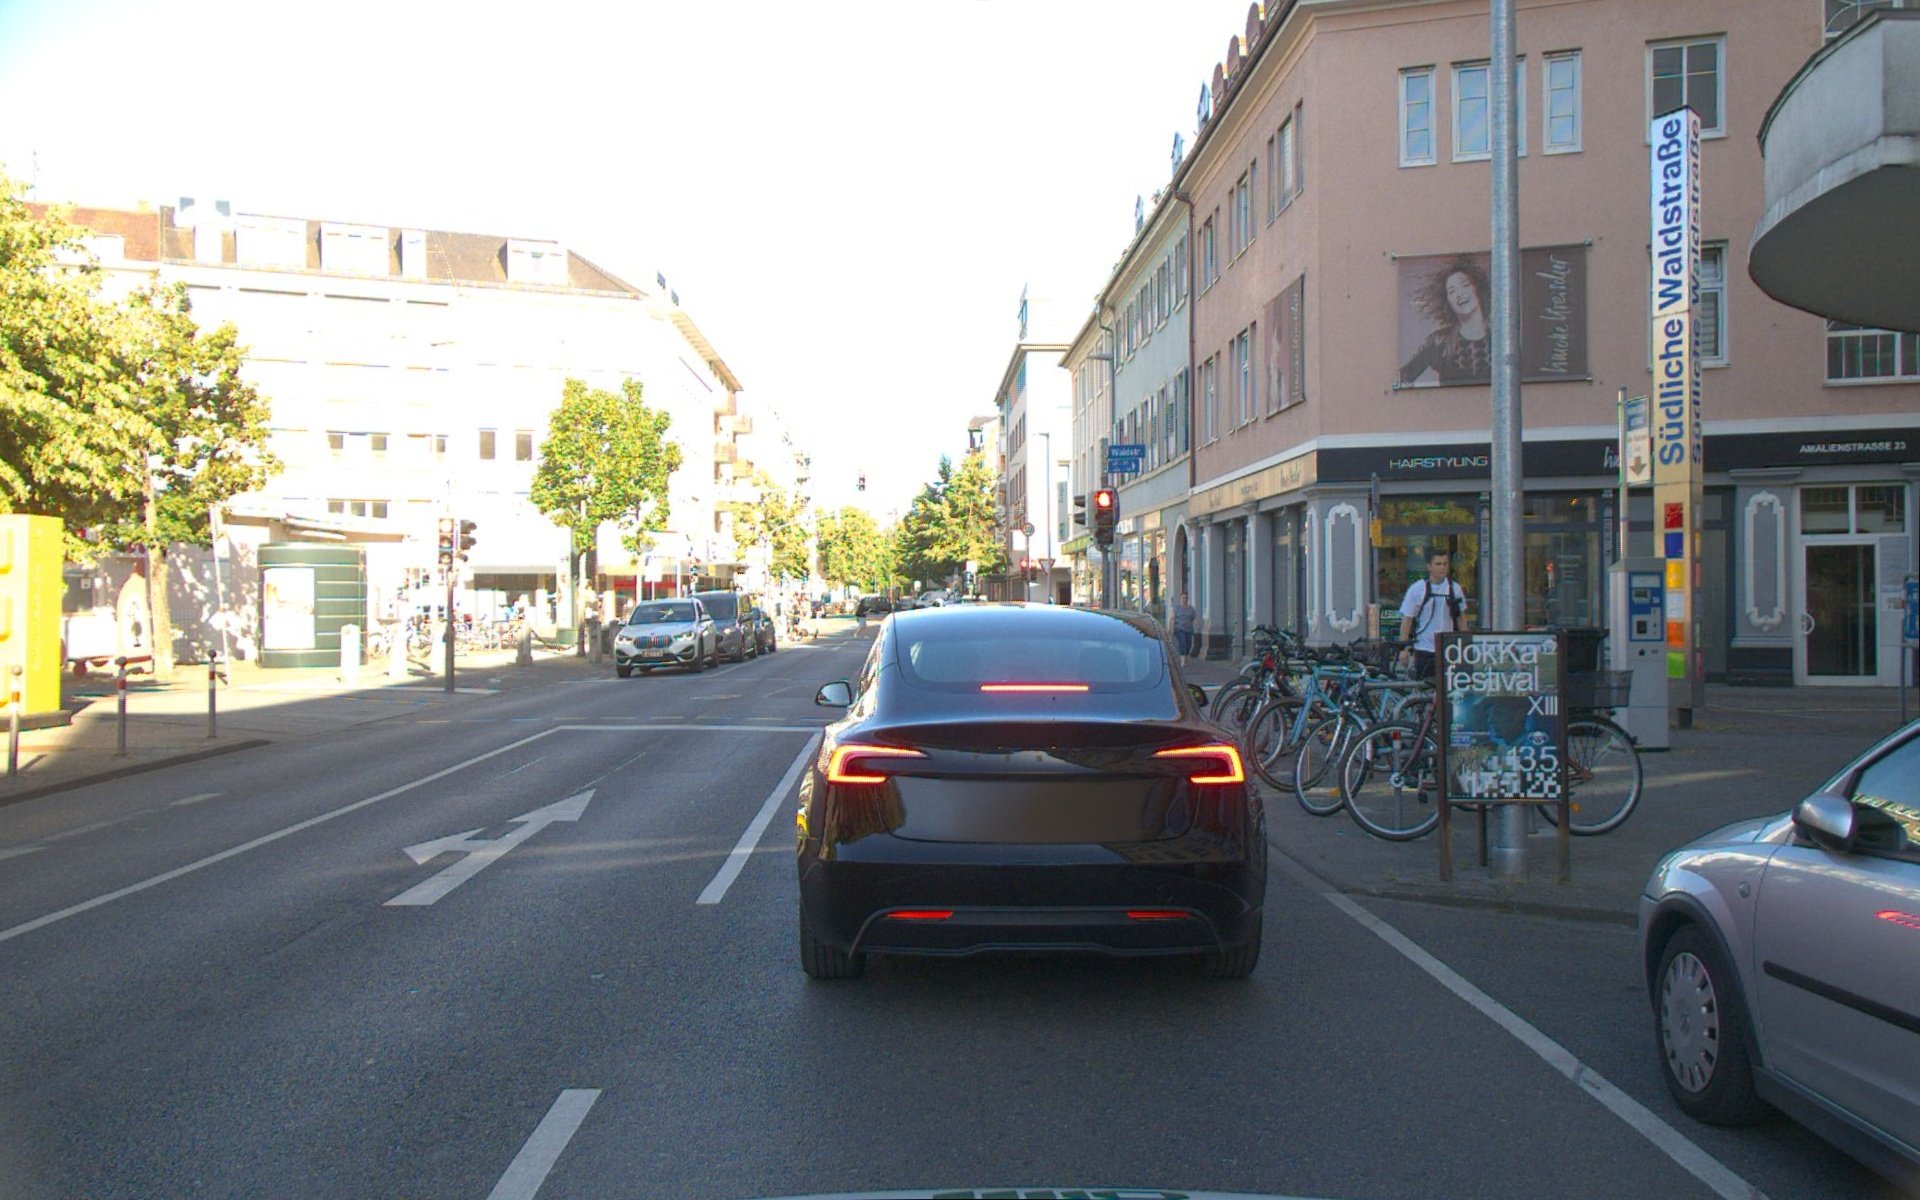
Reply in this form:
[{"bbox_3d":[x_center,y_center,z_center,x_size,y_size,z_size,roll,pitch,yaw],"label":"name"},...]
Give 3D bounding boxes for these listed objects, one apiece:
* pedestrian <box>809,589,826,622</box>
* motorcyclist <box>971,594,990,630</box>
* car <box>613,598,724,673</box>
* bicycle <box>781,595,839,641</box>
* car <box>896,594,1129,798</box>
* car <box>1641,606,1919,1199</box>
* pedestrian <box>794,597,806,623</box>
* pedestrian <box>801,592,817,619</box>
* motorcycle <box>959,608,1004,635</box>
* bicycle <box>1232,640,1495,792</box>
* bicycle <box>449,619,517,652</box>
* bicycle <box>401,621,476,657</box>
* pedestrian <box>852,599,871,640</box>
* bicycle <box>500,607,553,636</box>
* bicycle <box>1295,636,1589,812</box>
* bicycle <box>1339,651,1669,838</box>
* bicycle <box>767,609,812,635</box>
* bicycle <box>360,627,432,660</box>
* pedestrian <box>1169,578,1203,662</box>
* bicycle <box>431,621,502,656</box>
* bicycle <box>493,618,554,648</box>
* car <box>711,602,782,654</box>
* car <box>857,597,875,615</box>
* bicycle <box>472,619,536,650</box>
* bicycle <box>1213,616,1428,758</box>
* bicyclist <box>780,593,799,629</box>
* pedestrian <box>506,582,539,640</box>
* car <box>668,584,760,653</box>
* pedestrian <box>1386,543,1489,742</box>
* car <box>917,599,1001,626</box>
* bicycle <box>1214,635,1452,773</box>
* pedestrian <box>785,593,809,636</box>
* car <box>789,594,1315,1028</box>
[{"bbox_3d":[-7.837,0.307,90.940,0.666,1.820,0.703,1,-1,-36],"label":"pedestrian"},{"bbox_3d":[0.895,0.521,71.978,0.709,1.555,0.512,0,0,-23],"label":"motorcyclist"},{"bbox_3d":[-6.293,0.745,36.050,1.752,1.485,3.756,-2,0,-1],"label":"car"},{"bbox_3d":[-5.720,0.680,63.052,2.068,1.694,0.666,1,-1,-17],"label":"bicycle"},{"bbox_3d":[0.311,0.689,13.841,1.683,1.450,3.755,0,0,-2],"label":"car"},{"bbox_3d":[2.913,0.764,3.491,1.515,1.414,3.477,0,1,0],"label":"car"},{"bbox_3d":[-8.818,0.548,91.185,0.516,1.447,0.474,1,-1,-31],"label":"pedestrian"},{"bbox_3d":[-8.236,0.297,90.134,0.666,1.418,0.583,1,-1,-36],"label":"pedestrian"},{"bbox_3d":[0.941,0.925,71.994,1.901,1.130,0.515,0,0,-24],"label":"motorcycle"},{"bbox_3d":[3.025,0.867,12.494,1.834,1.056,0.533,-2,-1,3],"label":"bicycle"},{"bbox_3d":[-14.300,1.066,49.602,1.826,0.950,0.606,1,0,-2],"label":"bicycle"},{"bbox_3d":[-14.162,1.067,44.932,1.826,0.950,0.606,0,0,-2],"label":"bicycle"},{"bbox_3d":[-3.867,0.767,65.194,0.612,1.565,0.511,1,-1,-19],"label":"pedestrian"},{"bbox_3d":[-20.319,1.027,77.471,2.334,1.318,0.509,1,-1,-27],"label":"bicycle"},{"bbox_3d":[3.242,0.831,11.200,1.834,1.106,0.414,-2,-1,3],"label":"bicycle"},{"bbox_3d":[3.269,0.868,10.020,1.833,1.056,0.353,-2,-1,6],"label":"bicycle"},{"bbox_3d":[-6.880,0.890,66.731,1.756,1.024,0.469,1,-1,-17],"label":"bicycle"},{"bbox_3d":[-14.451,1.114,42.395,1.612,0.806,0.606,1,0,-5],"label":"bicycle"},{"bbox_3d":[4.793,0.419,35.112,0.691,1.773,0.540,0,0,4],"label":"pedestrian"},{"bbox_3d":[-14.063,1.089,47.132,1.826,0.950,0.606,1,0,-2],"label":"bicycle"},{"bbox_3d":[-14.368,1.086,54.461,1.826,0.950,0.606,0,0,-2],"label":"bicycle"},{"bbox_3d":[-6.387,0.818,49.866,1.680,1.471,3.844,1,0,-1],"label":"car"},{"bbox_3d":[-9.200,0.626,162.489,1.716,1.718,3.830,1,0,-3],"label":"car"},{"bbox_3d":[-14.332,1.076,52.013,1.826,0.950,0.606,0,0,-2],"label":"bicycle"},{"bbox_3d":[3.201,0.770,14.788,1.789,1.189,0.506,-2,-1,5],"label":"bicycle"},{"bbox_3d":[-6.888,0.452,66.726,0.659,1.420,0.460,1,-1,-17],"label":"bicyclist"},{"bbox_3d":[-15.853,0.388,59.878,1.041,2.049,1.049,1,-1,-20],"label":"pedestrian"},{"bbox_3d":[-6.240,0.438,42.368,1.751,1.675,4.401,0,0,-1],"label":"car"},{"bbox_3d":[4.447,0.390,15.450,0.735,1.796,0.837,1,-1,3],"label":"pedestrian"},{"bbox_3d":[-0.039,0.632,85.039,3.930,1.378,1.897,0,0,-22],"label":"car"},{"bbox_3d":[3.058,0.852,13.665,1.833,1.056,0.548,-2,-1,5],"label":"bicycle"},{"bbox_3d":[-6.447,0.571,65.328,0.742,1.660,0.951,1,-1,-18],"label":"pedestrian"},{"bbox_3d":[0.288,0.724,7.619,1.785,1.467,3.999,0,0,-1],"label":"car"}]
